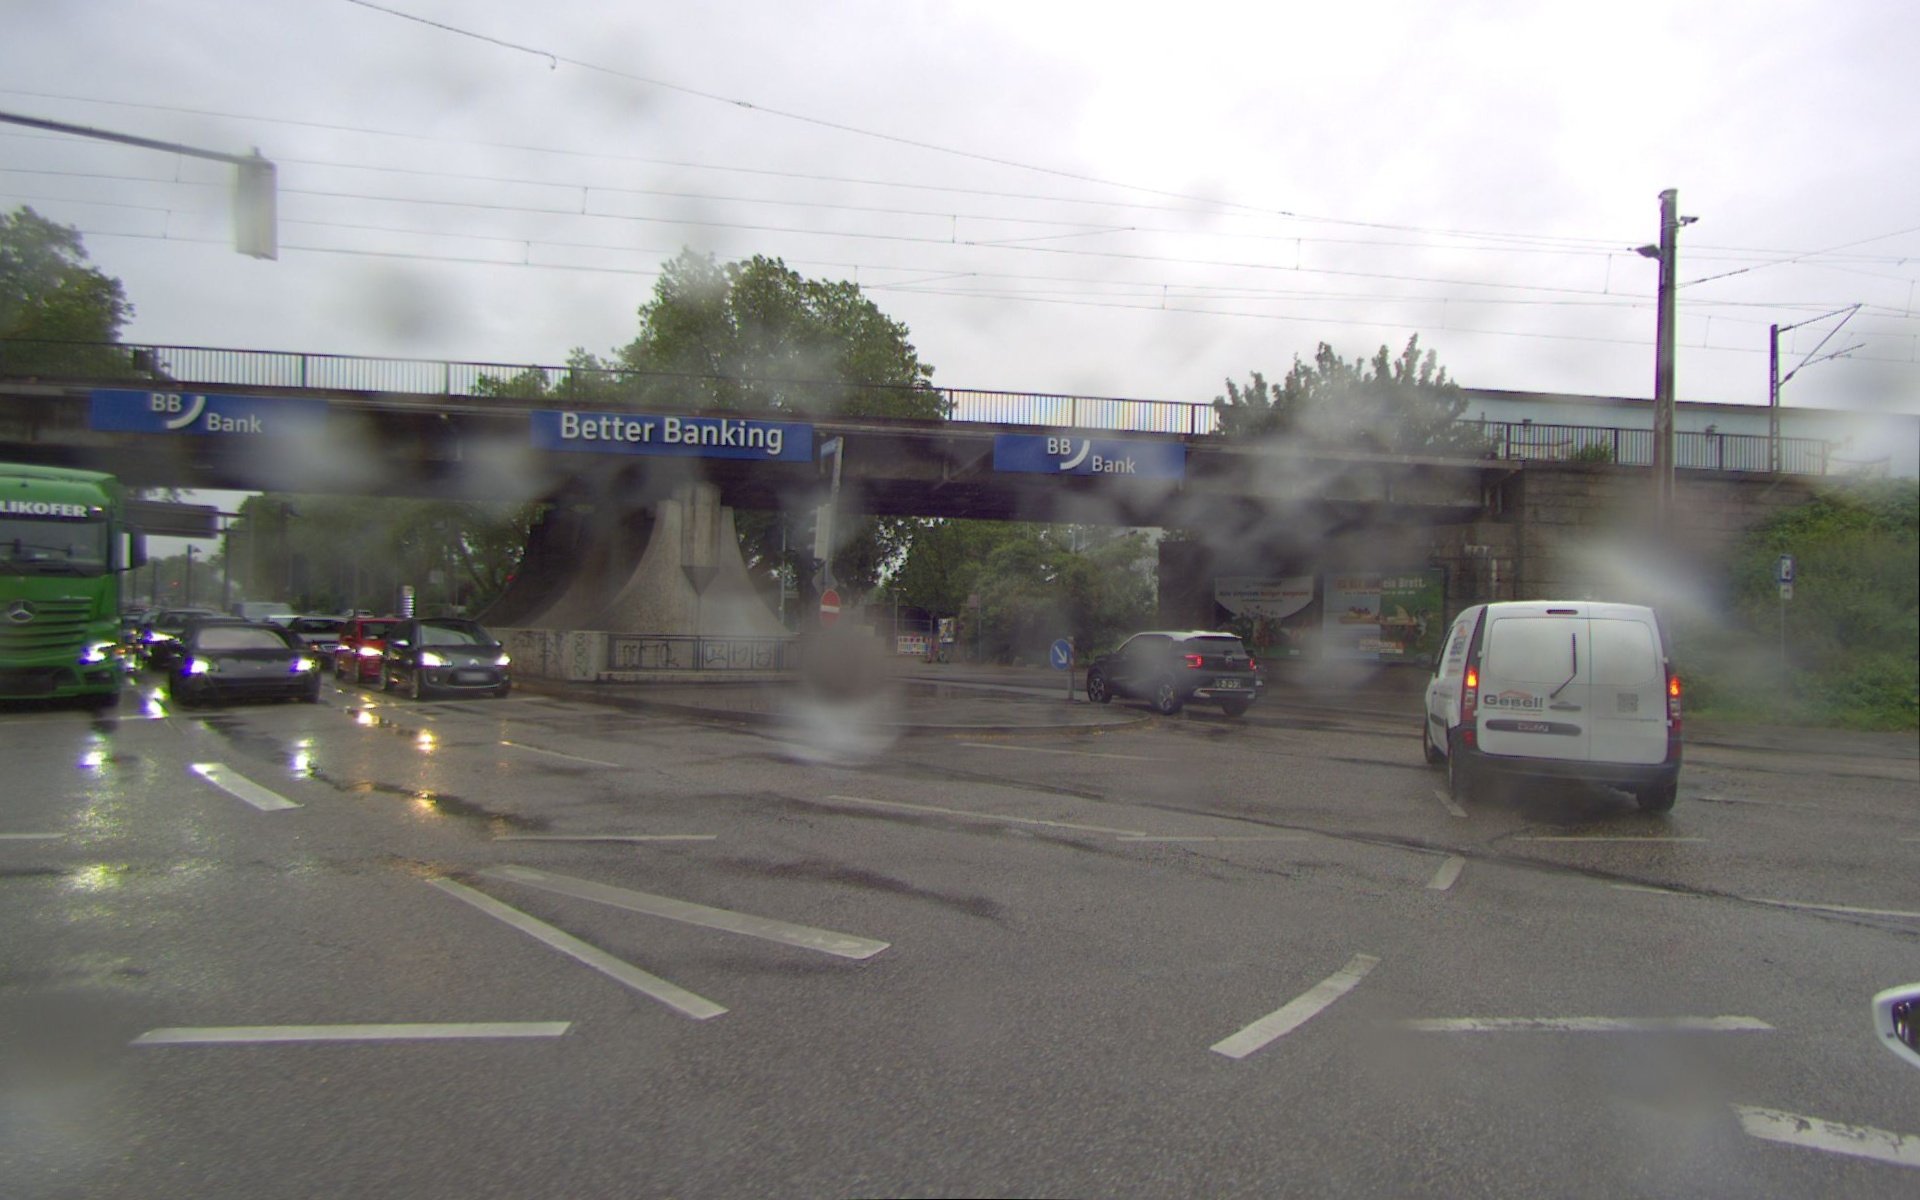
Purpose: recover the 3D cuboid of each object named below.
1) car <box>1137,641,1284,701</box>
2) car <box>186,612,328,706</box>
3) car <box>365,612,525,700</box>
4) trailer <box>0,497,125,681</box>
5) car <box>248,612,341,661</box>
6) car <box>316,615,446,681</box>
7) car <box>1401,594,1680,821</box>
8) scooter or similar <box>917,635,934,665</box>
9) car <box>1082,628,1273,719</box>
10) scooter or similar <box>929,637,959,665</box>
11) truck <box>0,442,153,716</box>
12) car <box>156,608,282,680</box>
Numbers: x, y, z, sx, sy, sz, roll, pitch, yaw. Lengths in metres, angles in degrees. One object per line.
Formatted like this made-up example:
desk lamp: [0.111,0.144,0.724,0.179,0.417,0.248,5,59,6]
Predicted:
car: [6.082,1.699,24.605,1.669,1.300,3.227,2,-2,-34]
car: [-13.078,1.016,18.567,1.732,1.505,4.631,3,-2,-40]
car: [-10.269,1.045,19.919,3.946,1.566,1.650,-1,-3,45]
trailer: [-23.259,-0.189,25.683,2.669,4.039,8.418,3,-2,-41]
car: [-23.069,1.241,34.781,1.987,1.594,3.948,3,-3,-44]
car: [-14.040,1.113,24.270,1.809,1.471,3.948,3,-3,-44]
car: [5.575,0.941,10.183,1.727,1.801,4.001,0,-2,20]
scooter or similar: [-1.574,2.266,45.893,0.696,1.327,1.558,-3,-2,-1]
car: [4.292,1.410,20.452,1.896,1.630,3.979,2,-2,-22]
scooter or similar: [-0.706,2.238,44.423,0.762,1.194,1.538,-1,0,-24]
truck: [-17.116,-0.254,18.693,2.668,4.001,10.070,3,-2,-42]
car: [-18.095,1.028,24.459,1.986,1.594,3.949,3,-3,-43]
